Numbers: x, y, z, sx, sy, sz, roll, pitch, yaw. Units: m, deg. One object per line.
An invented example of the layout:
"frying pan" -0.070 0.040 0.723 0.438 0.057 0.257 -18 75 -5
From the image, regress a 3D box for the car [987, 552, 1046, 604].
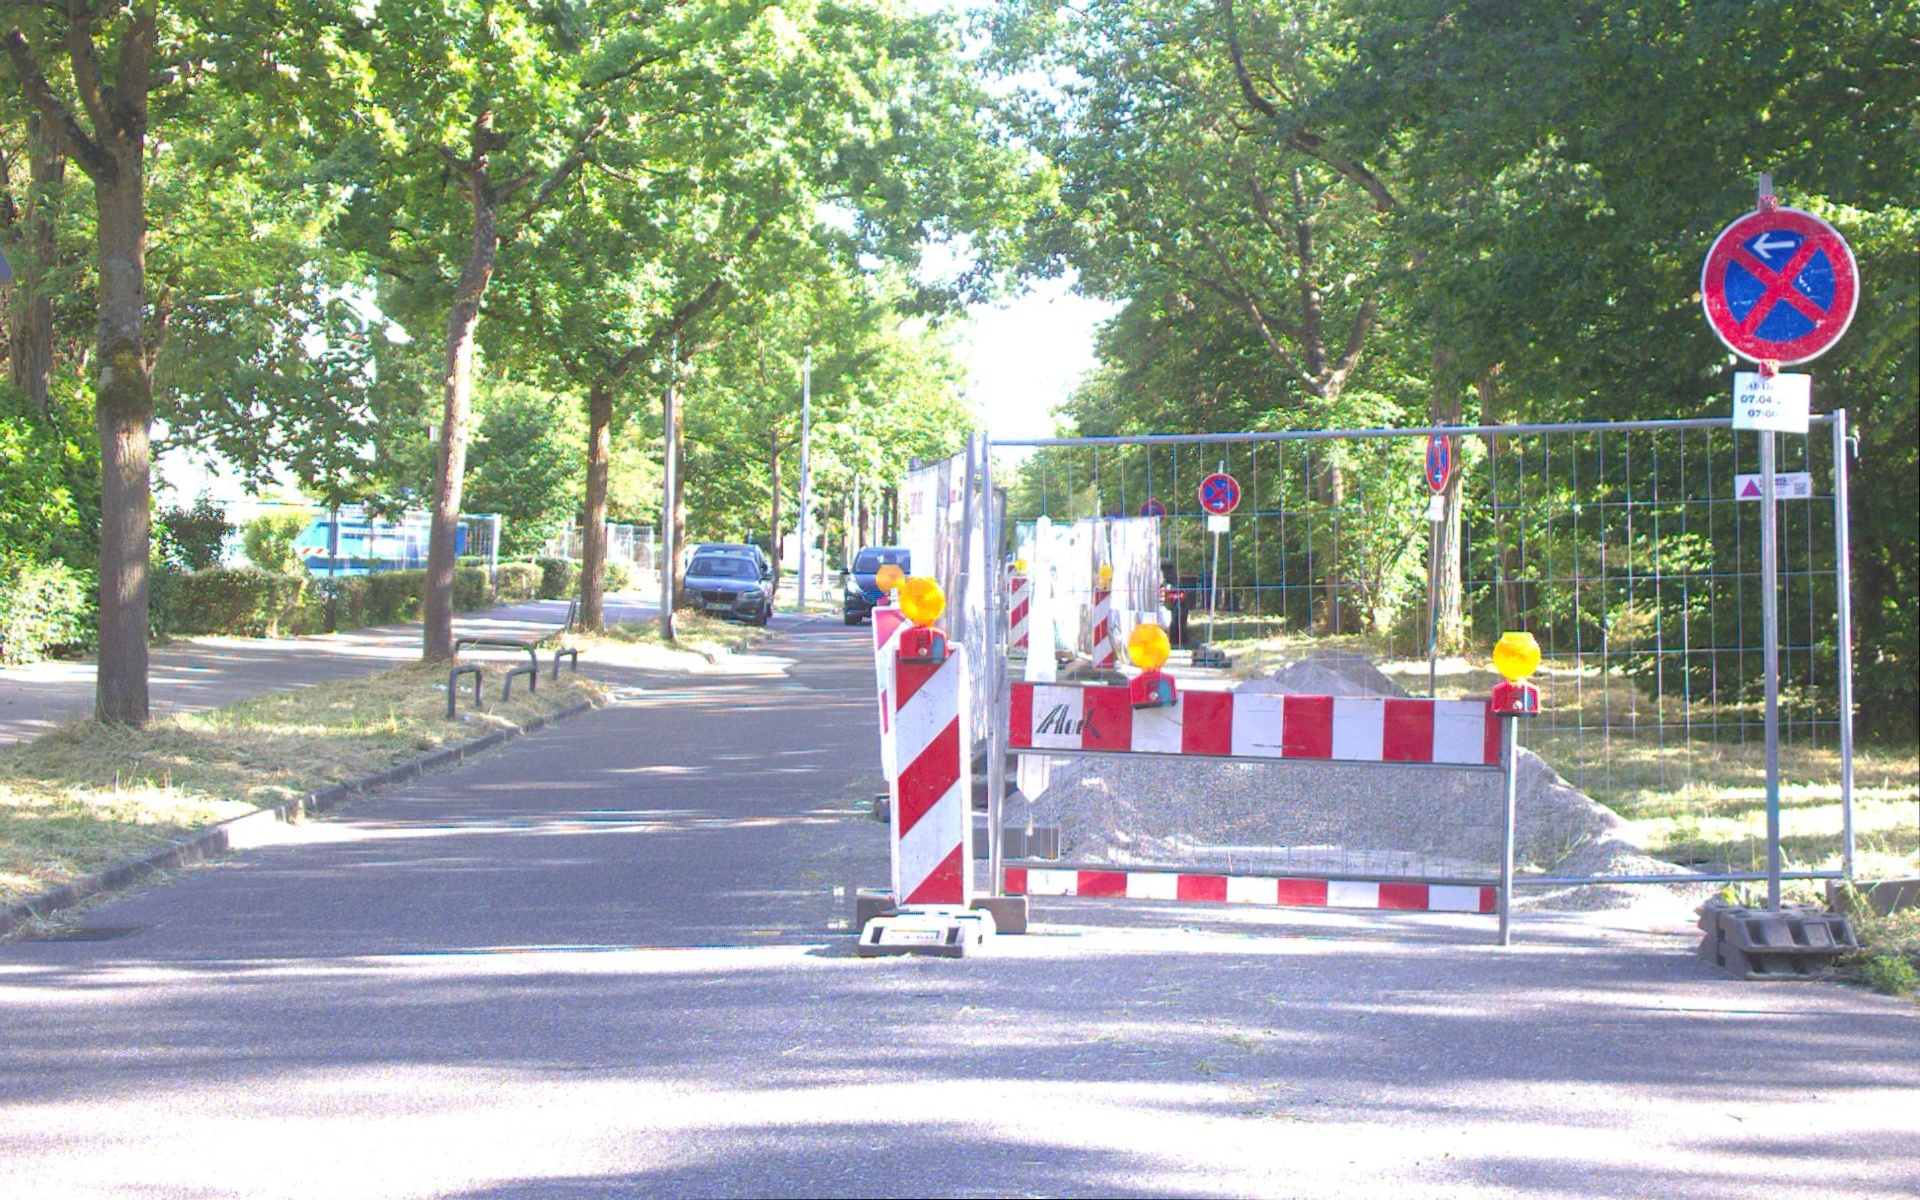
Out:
"car" 1.468 -0.582 90.684 1.361 1.298 3.481 2 0 -2

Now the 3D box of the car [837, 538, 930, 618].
"car" -1.603 -0.485 73.369 1.821 1.619 4.492 -1 1 1

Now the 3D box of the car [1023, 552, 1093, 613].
"car" 2.199 -0.393 77.703 1.361 1.298 3.481 2 0 -2

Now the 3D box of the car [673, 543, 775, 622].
"car" -4.644 -0.369 68.090 1.751 1.473 3.836 1 1 0

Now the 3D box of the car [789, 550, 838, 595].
"car" -4.384 -0.811 103.338 1.361 1.298 3.481 2 0 -2
